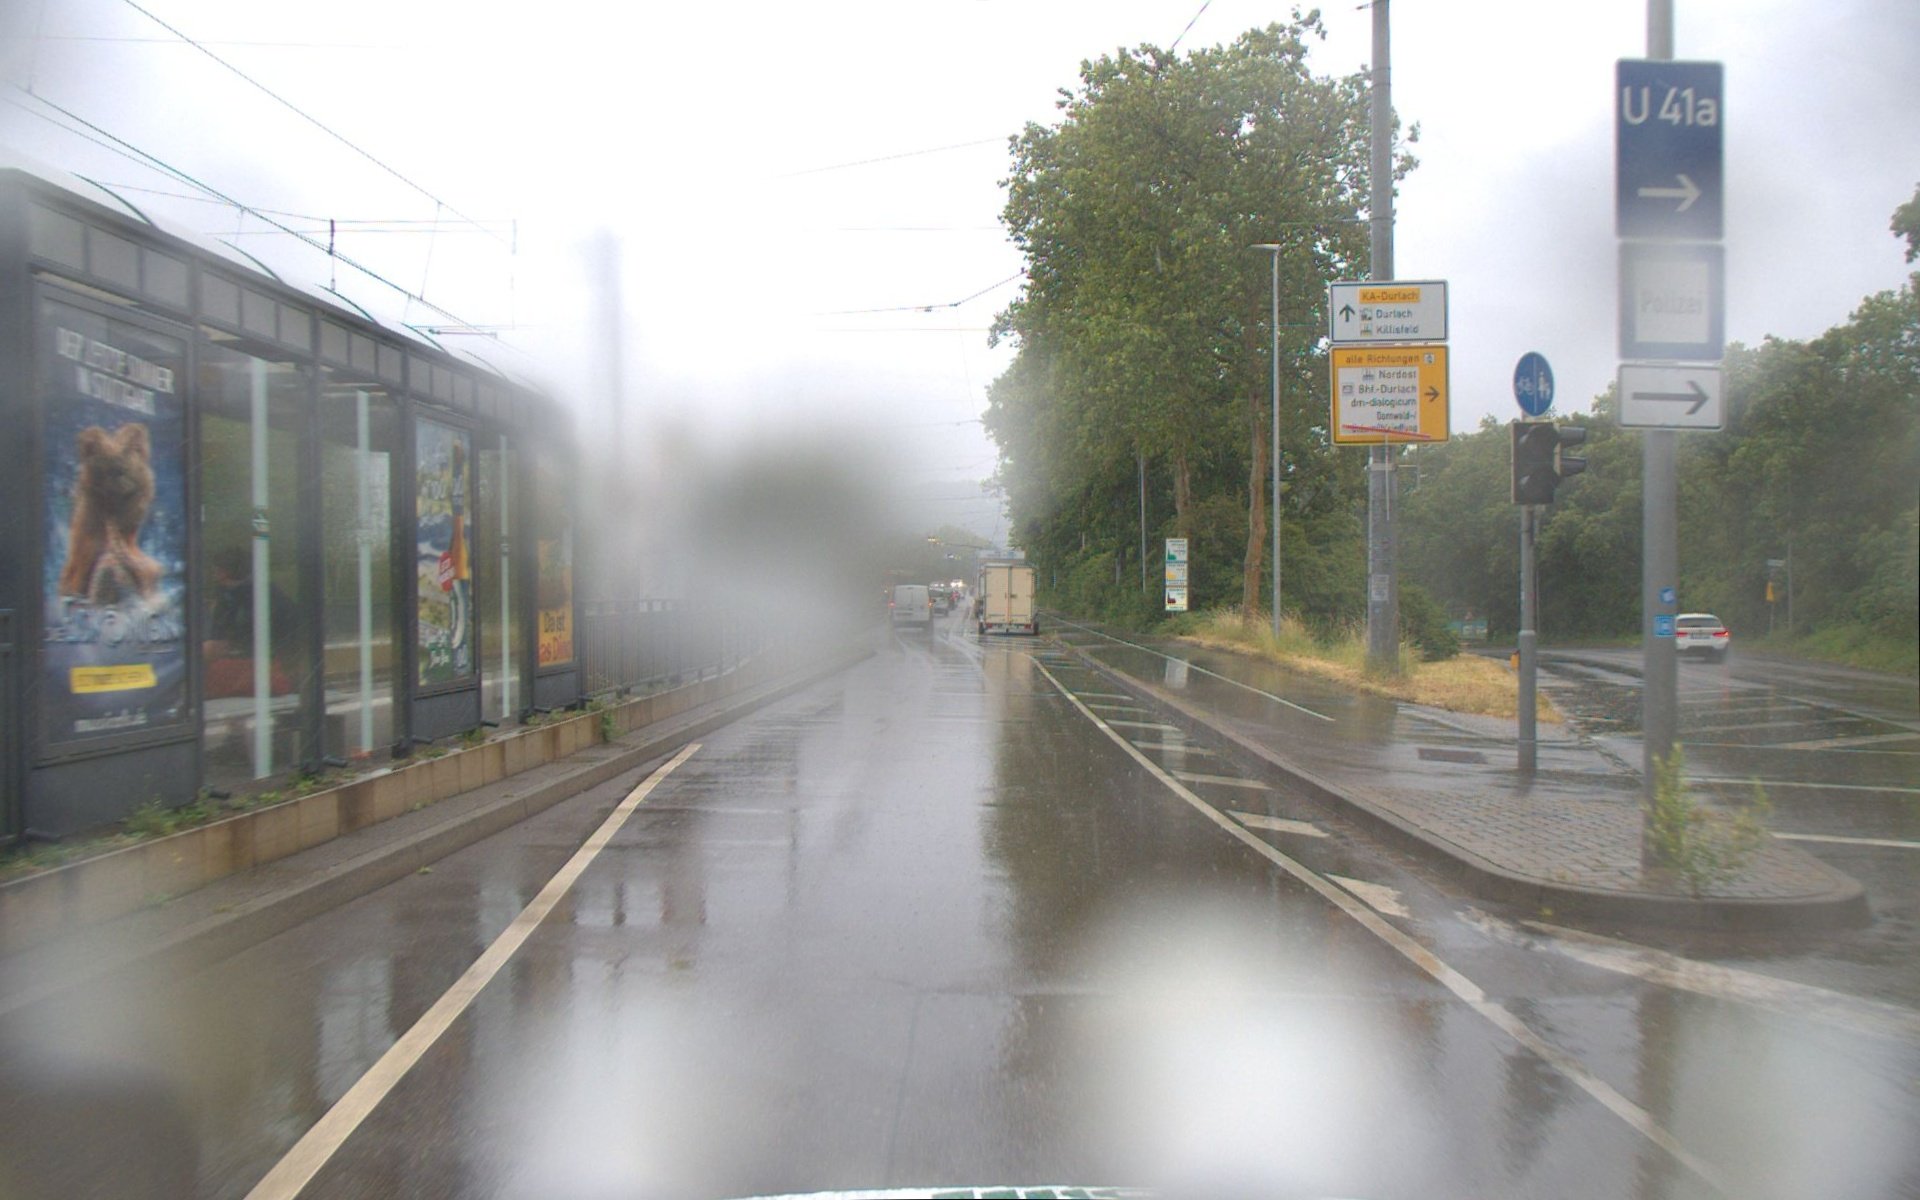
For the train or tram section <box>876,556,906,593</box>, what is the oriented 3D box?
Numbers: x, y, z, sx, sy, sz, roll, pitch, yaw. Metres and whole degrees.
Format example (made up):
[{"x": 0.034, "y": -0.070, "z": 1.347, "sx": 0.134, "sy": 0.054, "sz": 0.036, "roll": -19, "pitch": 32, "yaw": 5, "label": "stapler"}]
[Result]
[{"x": -8.171, "y": -2.993, "z": 196.582, "sx": 2.749, "sy": 4.222, "sz": 13.021, "roll": 0, "pitch": 0, "yaw": 1, "label": "train or tram section"}]

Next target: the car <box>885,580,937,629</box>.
[{"x": -1.937, "y": 0.164, "z": 64.959, "sx": 1.954, "sy": 1.881, "sz": 3.998, "roll": 0, "pitch": 0, "yaw": -3, "label": "car"}]

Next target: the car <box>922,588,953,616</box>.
[{"x": -1.316, "y": 0.131, "z": 99.073, "sx": 1.749, "sy": 1.671, "sz": 3.968, "roll": 0, "pitch": 0, "yaw": 0, "label": "car"}]

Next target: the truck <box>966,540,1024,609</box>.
[{"x": 1.956, "y": -1.374, "z": 95.612, "sx": 2.720, "sy": 3.769, "sz": 9.847, "roll": 0, "pitch": 0, "yaw": -3, "label": "truck"}]

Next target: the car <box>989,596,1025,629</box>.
[{"x": 2.352, "y": 0.584, "z": 82.095, "sx": 1.677, "sy": 1.555, "sz": 4.001, "roll": 0, "pitch": 0, "yaw": 2, "label": "car"}]

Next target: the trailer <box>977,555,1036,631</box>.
[{"x": 1.859, "y": -0.243, "z": 64.366, "sx": 2.120, "sy": 2.806, "sz": 5.678, "roll": 0, "pitch": 0, "yaw": 3, "label": "trailer"}]

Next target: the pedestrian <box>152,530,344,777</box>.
[{"x": -4.075, "y": 0.293, "z": 9.505, "sx": 0.797, "sy": 1.364, "sz": 0.659, "roll": 0, "pitch": 0, "yaw": 1, "label": "pedestrian"}]

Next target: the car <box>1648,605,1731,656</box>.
[{"x": 22.301, "y": 0.906, "z": 50.686, "sx": 1.848, "sy": 1.456, "sz": 4.003, "roll": 0, "pitch": 0, "yaw": 16, "label": "car"}]
